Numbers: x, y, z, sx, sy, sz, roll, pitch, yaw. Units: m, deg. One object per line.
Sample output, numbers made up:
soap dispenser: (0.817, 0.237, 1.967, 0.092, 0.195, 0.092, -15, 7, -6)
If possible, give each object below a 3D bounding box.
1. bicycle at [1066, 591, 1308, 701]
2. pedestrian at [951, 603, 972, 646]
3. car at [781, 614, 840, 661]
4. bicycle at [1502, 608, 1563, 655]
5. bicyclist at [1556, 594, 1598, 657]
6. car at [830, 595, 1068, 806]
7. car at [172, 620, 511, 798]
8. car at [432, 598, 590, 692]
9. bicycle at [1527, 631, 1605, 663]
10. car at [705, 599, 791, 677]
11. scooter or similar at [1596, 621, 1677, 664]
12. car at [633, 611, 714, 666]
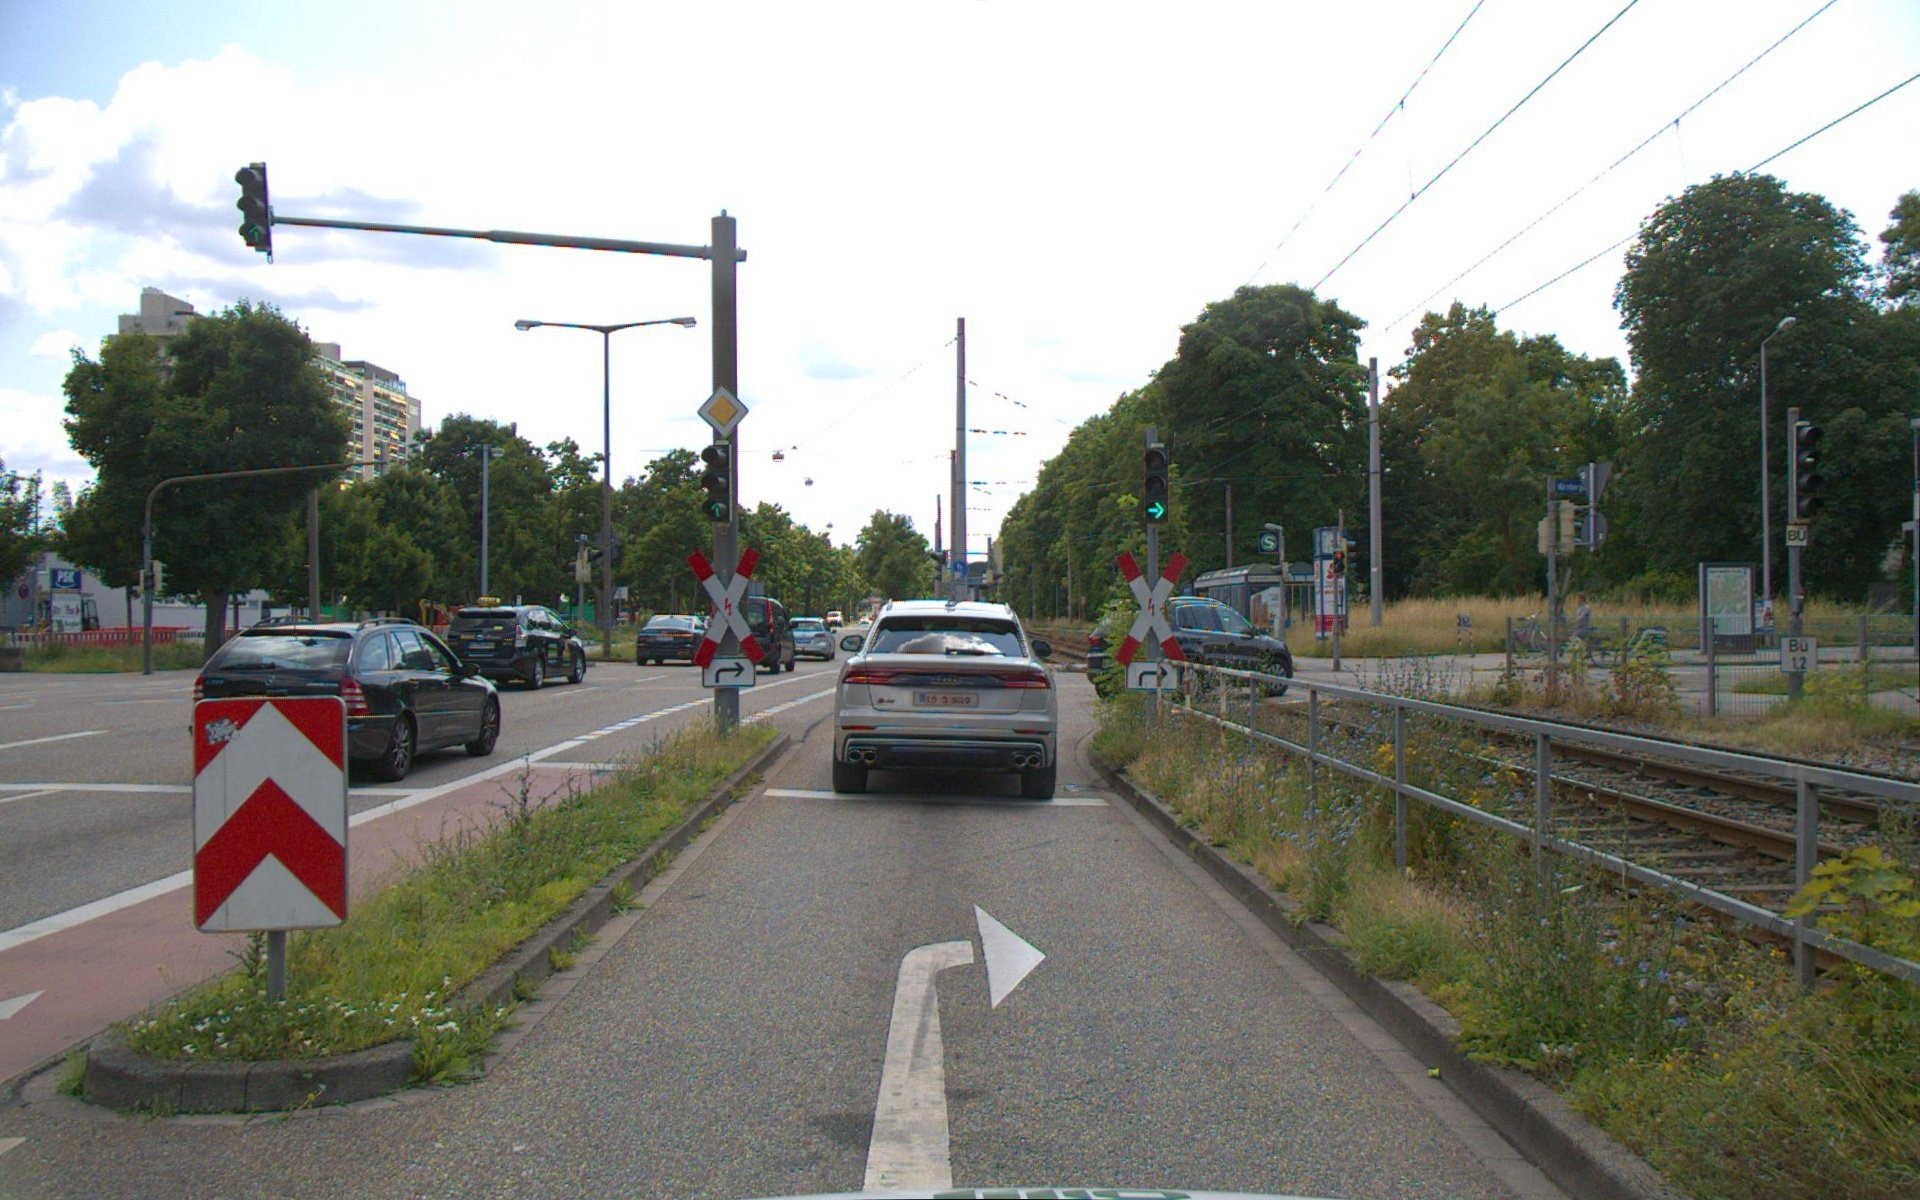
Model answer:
bicycle: (3.863, 0.716, 27.714, 1.966, 1.704, 4.180, -1, -1, 44)
pedestrian: (0.046, 0.904, 60.026, 0.642, 1.540, 0.716, -1, -1, -9)
car: (-5.225, 1.295, 58.178, 1.749, 1.552, 4.299, 1, -1, -1)
bicycle: (15.249, 0.830, 44.030, 1.642, 1.152, 0.692, -3, 1, -36)
bicyclist: (14.975, 0.621, 40.147, 0.821, 1.501, 0.455, -1, -1, 2)
car: (-0.089, 0.859, 15.868, 1.941, 1.713, 4.573, 1, -1, 0)
car: (-5.831, 0.954, 16.213, 1.719, 1.492, 4.432, 1, -1, -1)
car: (-8.656, 0.845, 32.252, 1.748, 1.697, 4.341, 1, -1, 2)
bicycle: (14.703, 1.138, 40.137, 1.686, 0.778, 0.555, 0, -1, 2)
car: (-5.205, 0.926, 40.969, 1.724, 1.809, 3.907, 1, -1, -2)
scooter or similar: (16.328, 1.025, 39.961, 1.542, 0.997, 0.962, -1, -1, 2)
car: (-8.349, 1.118, 48.523, 1.827, 1.531, 3.997, 1, -1, -3)
